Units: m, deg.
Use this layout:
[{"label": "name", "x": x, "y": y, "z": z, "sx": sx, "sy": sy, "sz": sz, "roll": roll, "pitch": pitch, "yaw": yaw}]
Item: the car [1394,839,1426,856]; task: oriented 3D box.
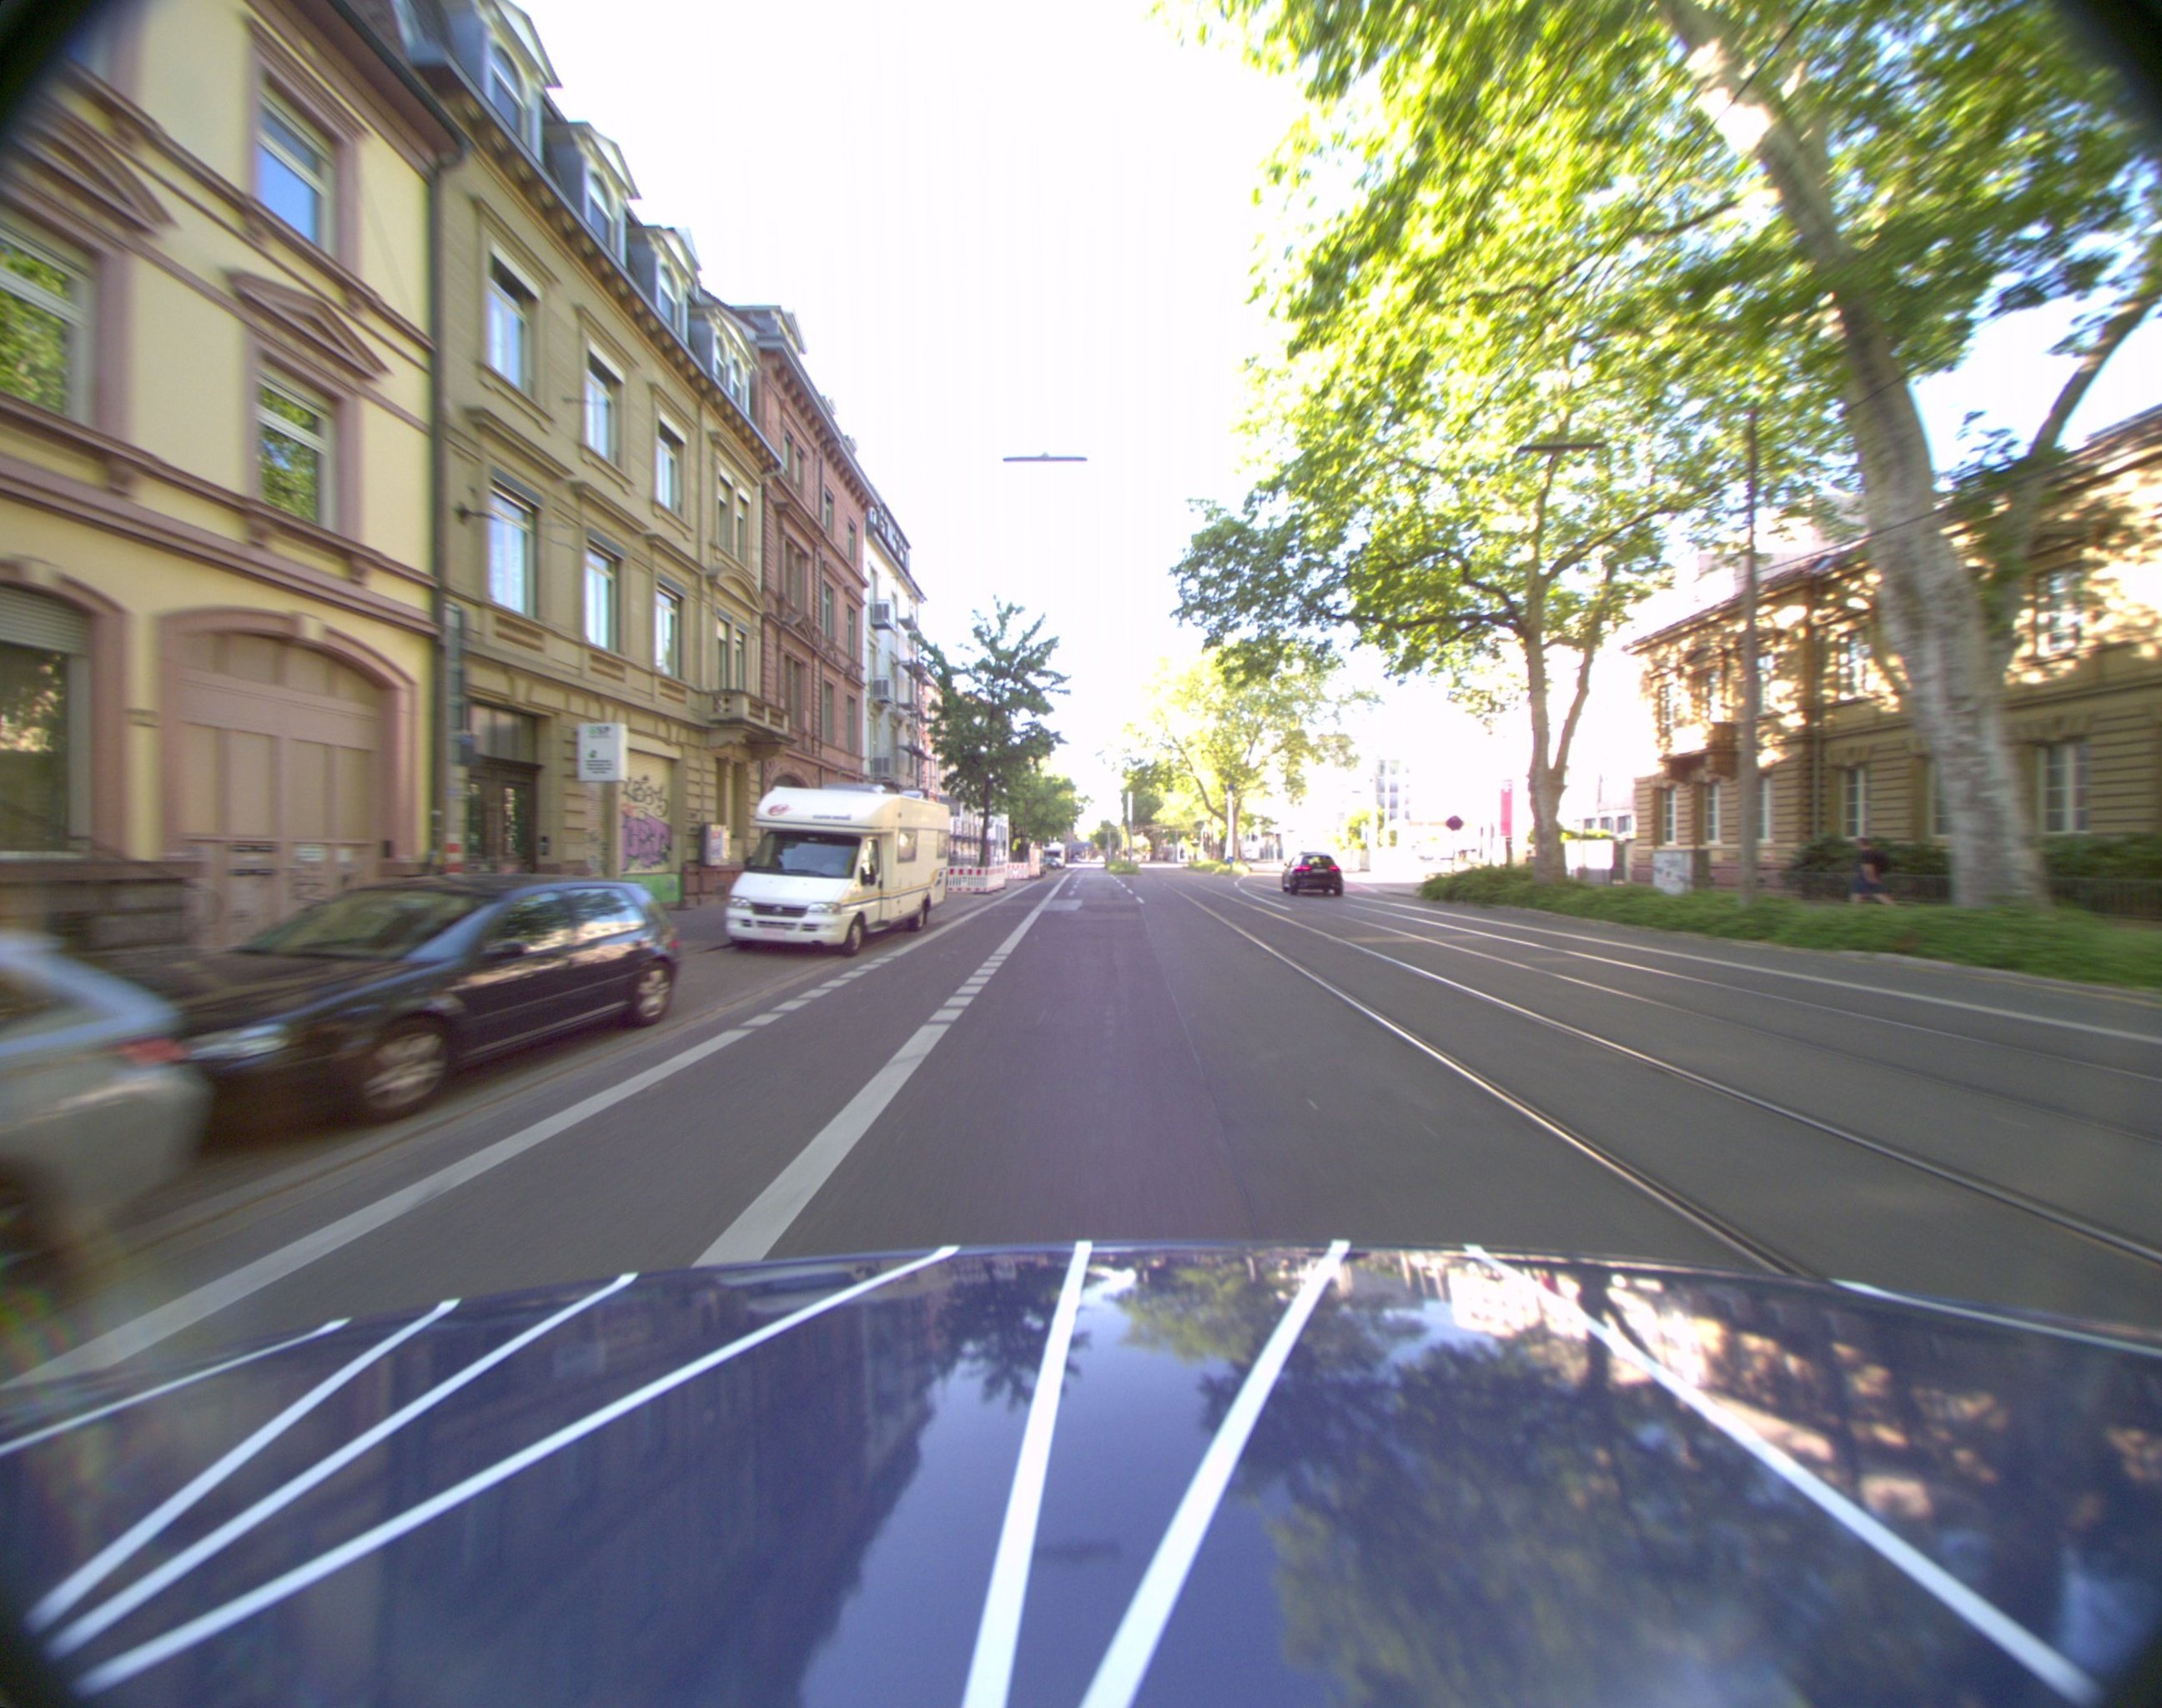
[{"label": "car", "x": 35.494, "y": -0.724, "z": 81.984, "sx": 1.852, "sy": 1.807, "sz": 4.000, "roll": 0, "pitch": 1, "yaw": 2}]

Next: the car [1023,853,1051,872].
[{"label": "car", "x": -3.525, "y": 0.666, "z": 61.742, "sx": 1.767, "sy": 1.475, "sz": 4.110, "roll": 1, "pitch": 0, "yaw": 4}]

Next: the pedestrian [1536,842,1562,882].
[{"label": "pedestrian", "x": 19.955, "y": 0.346, "z": 32.412, "sx": 0.673, "sy": 1.687, "sz": 0.661, "roll": 0, "pitch": 1, "yaw": -5}]

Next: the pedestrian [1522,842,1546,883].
[{"label": "pedestrian", "x": 19.278, "y": 0.354, "z": 32.327, "sx": 0.635, "sy": 1.687, "sz": 0.656, "roll": 0, "pitch": 1, "yaw": 1}]

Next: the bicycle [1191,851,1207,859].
[{"label": "bicycle", "x": 15.895, "y": 0.149, "z": 102.627, "sx": 2.083, "sy": 1.122, "sz": 0.760, "roll": 0, "pitch": 1, "yaw": -2}]

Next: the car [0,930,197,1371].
[{"label": "car", "x": -4.619, "y": 1.049, "z": 0.824, "sx": 1.814, "sy": 1.426, "sz": 4.665, "roll": 1, "pitch": 1, "yaw": 1}]

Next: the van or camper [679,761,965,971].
[{"label": "van or camper", "x": -4.452, "y": 0.141, "z": 15.158, "sx": 2.483, "sy": 2.955, "sz": 7.885, "roll": 3, "pitch": 1, "yaw": 3}]

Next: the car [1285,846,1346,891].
[{"label": "car", "x": 9.061, "y": 0.539, "z": 29.688, "sx": 1.869, "sy": 1.620, "sz": 4.564, "roll": 0, "pitch": 0, "yaw": 12}]

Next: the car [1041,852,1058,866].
[{"label": "car", "x": -3.242, "y": 0.483, "z": 78.780, "sx": 1.656, "sy": 1.439, "sz": 3.800, "roll": 1, "pitch": 0, "yaw": 0}]

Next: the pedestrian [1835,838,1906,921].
[{"label": "pedestrian", "x": 18.013, "y": 0.564, "z": 17.352, "sx": 0.721, "sy": 1.839, "sz": 0.837, "roll": 0, "pitch": 1, "yaw": -5}]

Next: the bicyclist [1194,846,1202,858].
[{"label": "bicyclist", "x": 15.800, "y": -0.251, "z": 102.620, "sx": 1.007, "sy": 1.567, "sz": 0.760, "roll": 0, "pitch": 1, "yaw": -1}]

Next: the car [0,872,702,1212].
[{"label": "car", "x": -4.810, "y": 0.963, "z": 5.732, "sx": 1.648, "sy": 1.426, "sz": 4.029, "roll": 3, "pitch": 1, "yaw": 3}]

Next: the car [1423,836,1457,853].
[{"label": "car", "x": 38.381, "y": -1.009, "z": 81.271, "sx": 1.852, "sy": 1.742, "sz": 4.000, "roll": 0, "pitch": 1, "yaw": 2}]

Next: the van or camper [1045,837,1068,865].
[{"label": "van or camper", "x": -2.809, "y": -0.386, "z": 89.188, "sx": 2.172, "sy": 3.075, "sz": 7.290, "roll": 1, "pitch": 0, "yaw": 2}]
